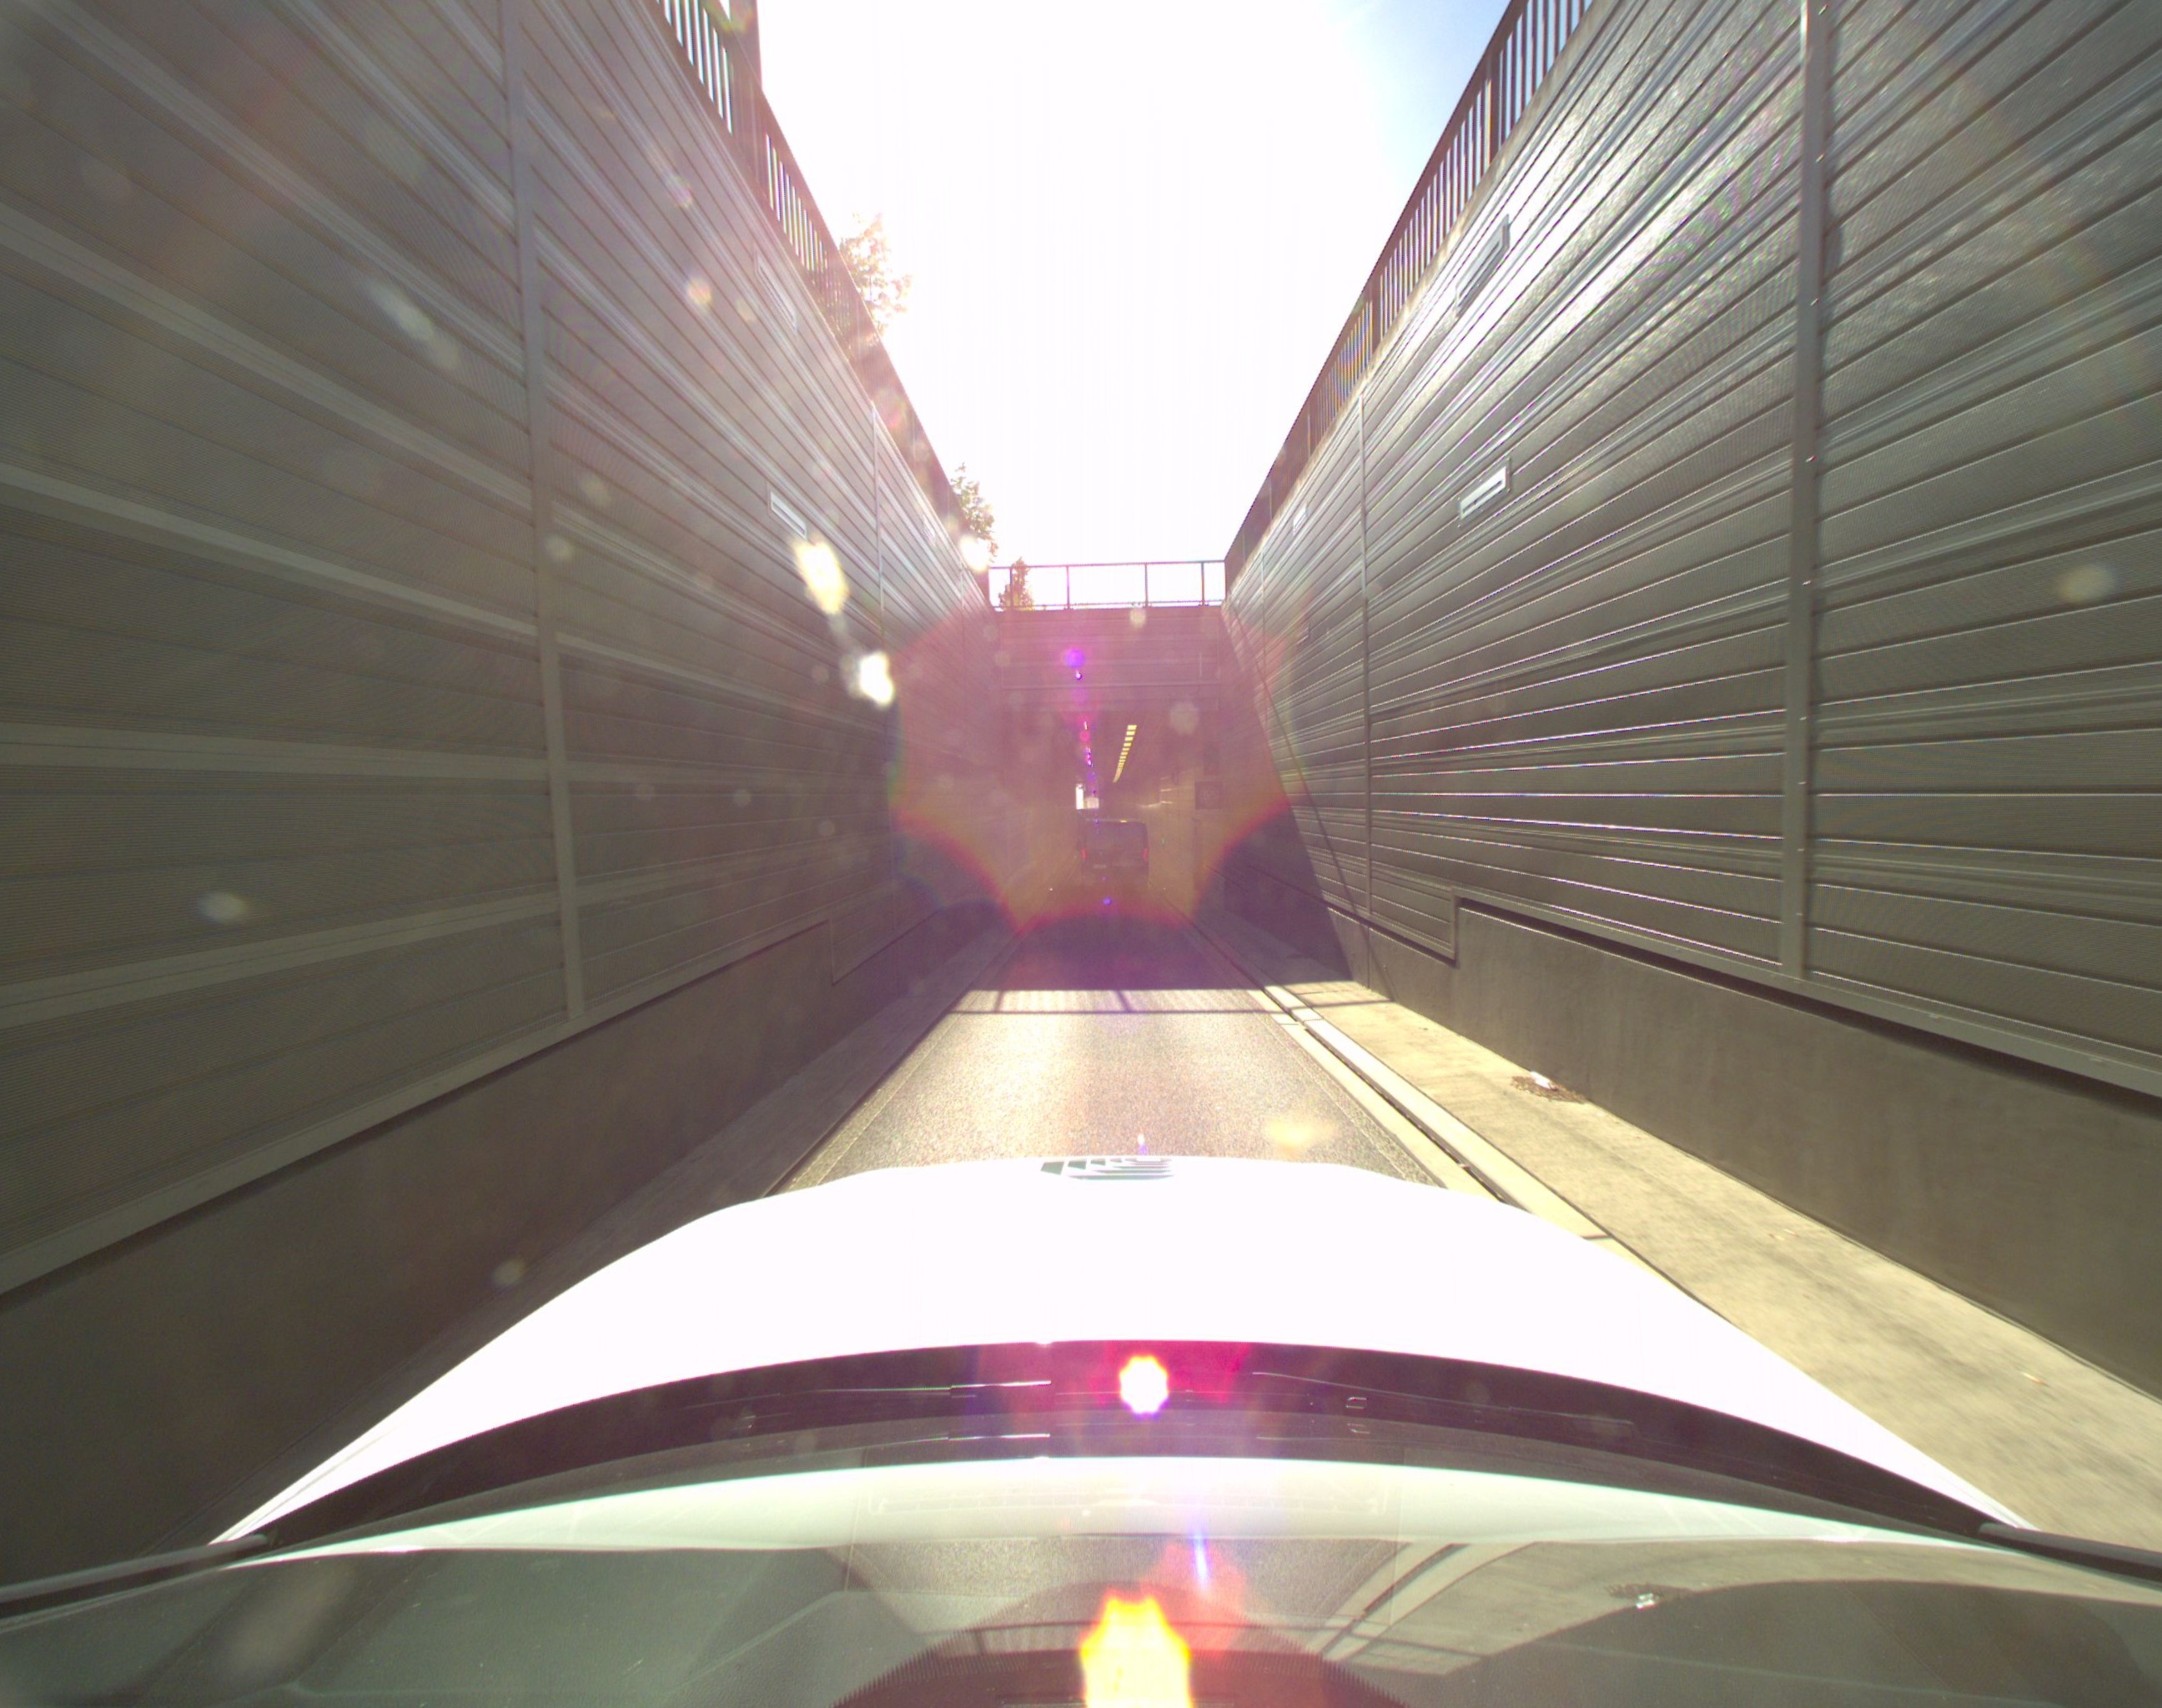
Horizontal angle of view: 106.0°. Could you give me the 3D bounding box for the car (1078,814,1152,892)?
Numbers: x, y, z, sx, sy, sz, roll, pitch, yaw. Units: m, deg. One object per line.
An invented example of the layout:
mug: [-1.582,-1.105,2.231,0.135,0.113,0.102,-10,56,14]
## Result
car: [1.091,-0.087,26.225,2.150,2.265,4.639,-1,2,2]
